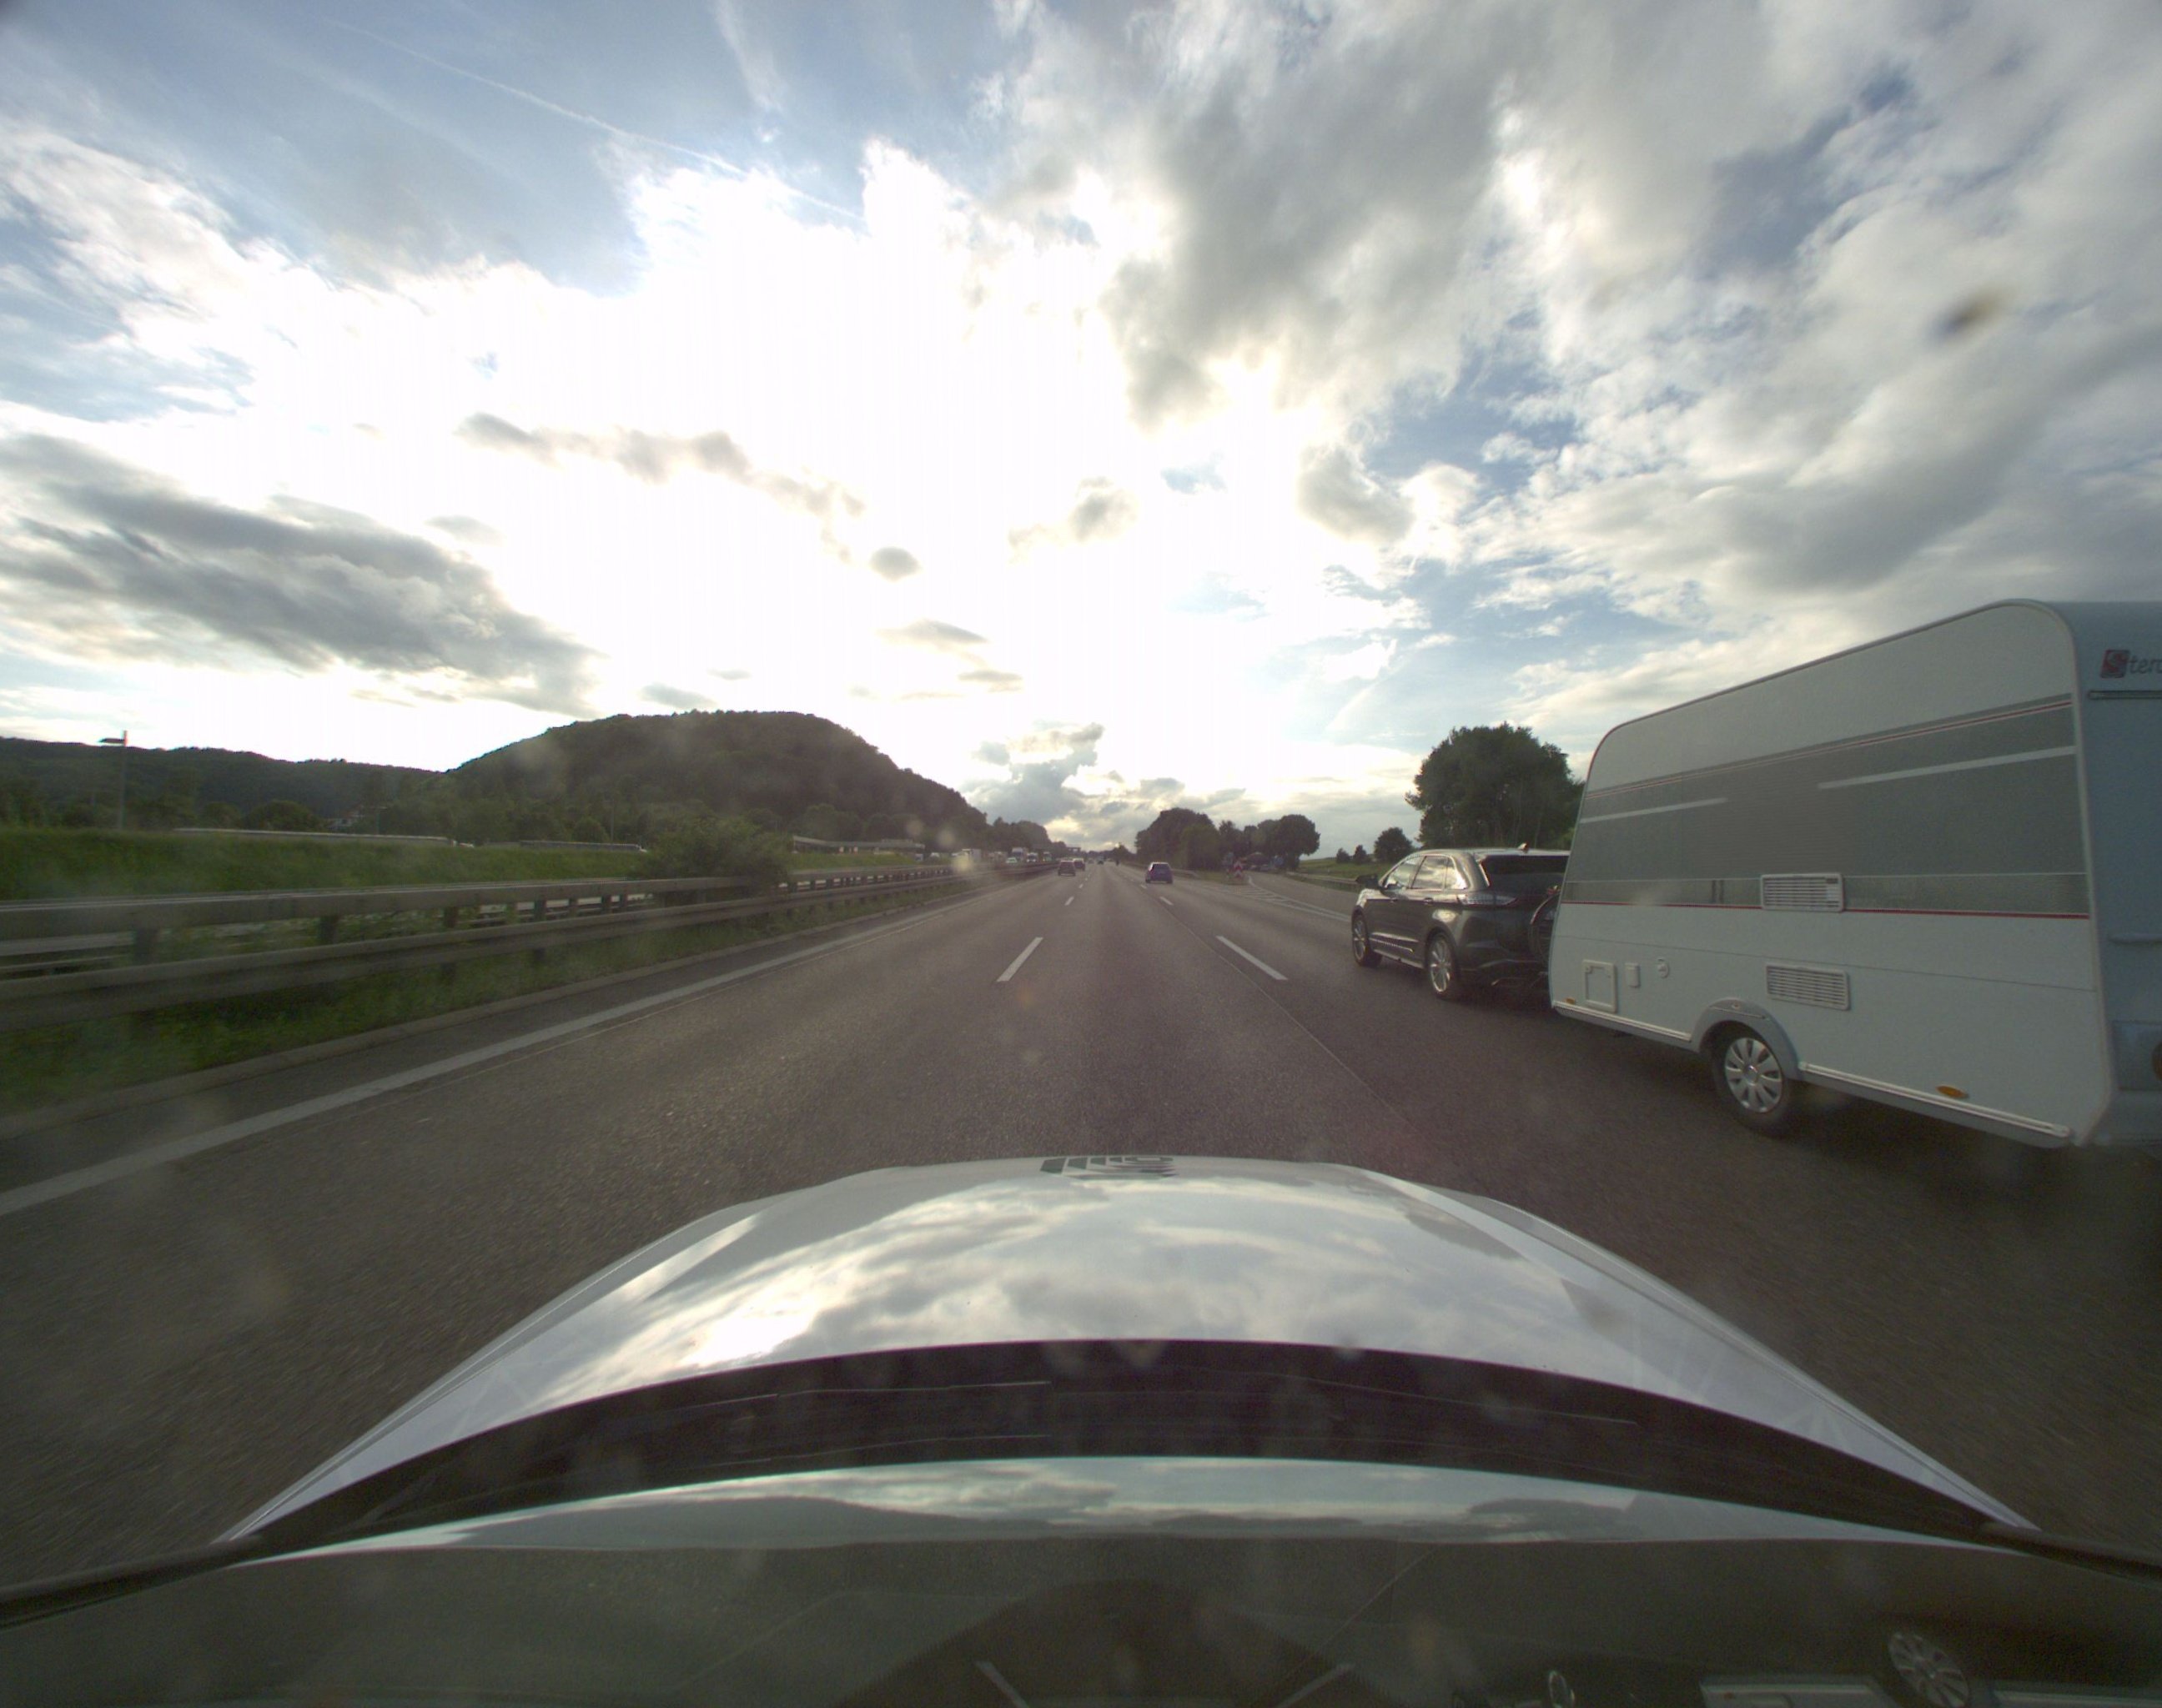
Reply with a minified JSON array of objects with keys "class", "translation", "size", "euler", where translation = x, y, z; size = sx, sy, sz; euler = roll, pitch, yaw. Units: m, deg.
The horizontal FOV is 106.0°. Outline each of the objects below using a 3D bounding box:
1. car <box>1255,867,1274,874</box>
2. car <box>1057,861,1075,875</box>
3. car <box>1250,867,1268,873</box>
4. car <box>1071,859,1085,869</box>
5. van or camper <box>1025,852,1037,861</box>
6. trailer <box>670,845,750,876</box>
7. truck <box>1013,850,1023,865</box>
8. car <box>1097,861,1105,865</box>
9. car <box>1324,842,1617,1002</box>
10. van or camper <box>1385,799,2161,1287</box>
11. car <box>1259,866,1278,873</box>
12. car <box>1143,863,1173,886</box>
[{"class":"car","translation":[41.617,3.667,184.618],"size":[4.331,1.556,1.967],"euler":[1,-2,-39]},{"class":"car","translation":[-1.463,1.348,79.462],"size":[1.535,1.348,3.672],"euler":[-3,0,-4]},{"class":"car","translation":[42.921,3.861,196.122],"size":[4.331,1.556,1.967],"euler":[1,-2,-39]},{"class":"car","translation":[-0.361,1.369,114.230],"size":[1.558,1.380,4.004],"euler":[-3,0,4]},{"class":"van or camper","translation":[-11.576,0.573,187.930],"size":[2.068,1.930,4.350],"euler":[-2,-1,5]},{"class":"trailer","translation":[-37.860,0.764,83.726],"size":[2.568,2.854,11.385],"euler":[0,-2,3]},{"class":"truck","translation":[-15.372,0.899,198.393],"size":[1.987,3.414,6.737],"euler":[0,-2,0]},{"class":"car","translation":[5.808,2.642,237.128],"size":[1.747,1.222,3.995],"euler":[-3,0,-3]},{"class":"car","translation":[4.694,0.711,10.654],"size":[1.780,1.652,4.482],"euler":[0,0,1]},{"class":"van or camper","translation":[4.706,0.954,6.487],"size":[2.540,2.239,5.327],"euler":[2,-1,0]},{"class":"car","translation":[41.318,3.505,179.321],"size":[4.331,1.556,1.967],"euler":[1,-2,-39]},{"class":"car","translation":[5.340,1.399,56.766],"size":[1.761,1.433,4.000],"euler":[-1,1,0]}]
